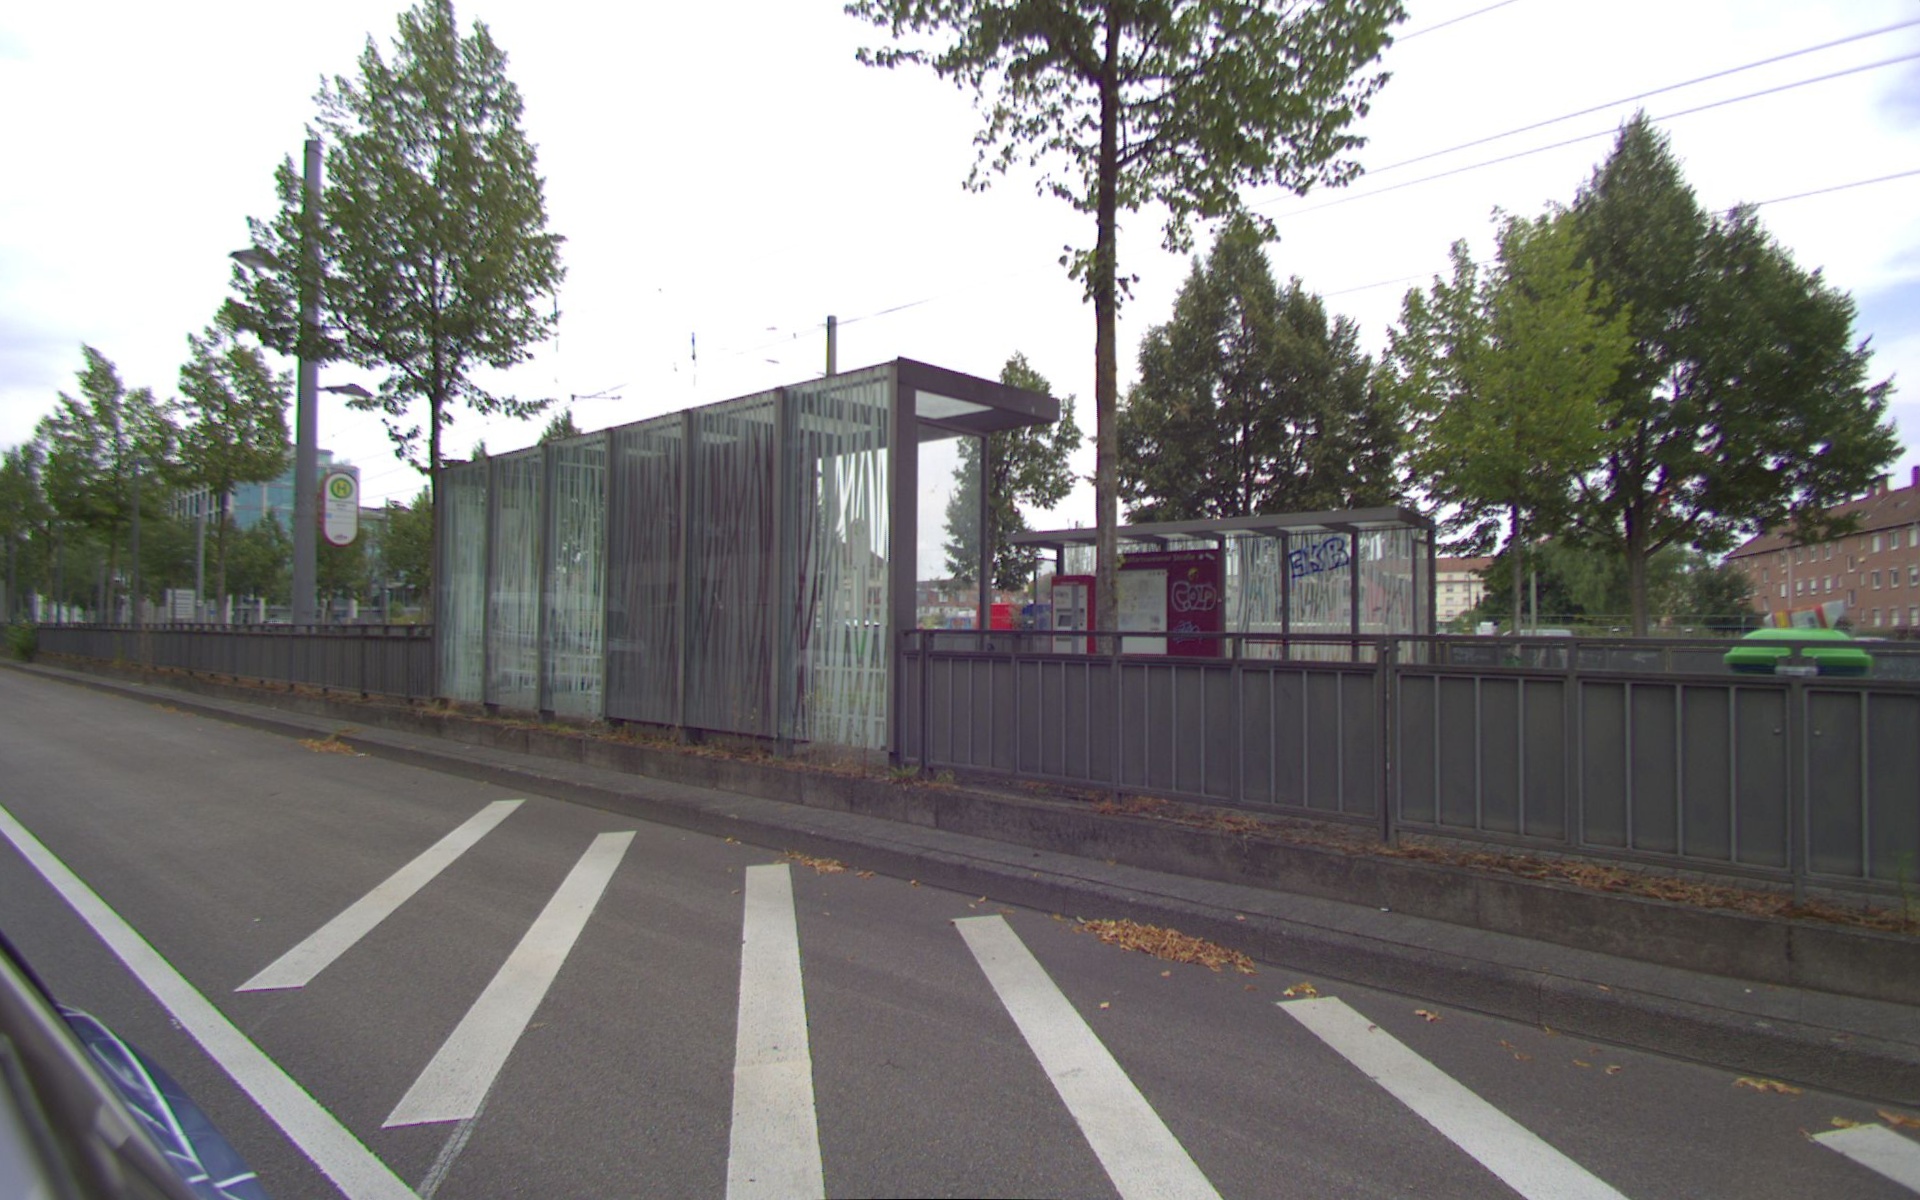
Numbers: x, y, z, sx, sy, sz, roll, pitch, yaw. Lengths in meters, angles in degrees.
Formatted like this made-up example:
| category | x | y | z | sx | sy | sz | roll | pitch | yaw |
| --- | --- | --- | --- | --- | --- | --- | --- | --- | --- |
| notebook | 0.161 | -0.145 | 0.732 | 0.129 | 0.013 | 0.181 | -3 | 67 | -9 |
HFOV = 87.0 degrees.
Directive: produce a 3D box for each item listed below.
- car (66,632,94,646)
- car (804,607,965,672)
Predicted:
| category | x | y | z | sx | sy | sz | roll | pitch | yaw |
| --- | --- | --- | --- | --- | --- | --- | --- | --- | --- |
| car | -108.447 | 4.800 | 124.660 | 4.686 | 1.669 | 1.809 | -2 | -3 | 39 |
| car | -2.139 | 1.073 | 27.826 | 4.384 | 1.630 | 1.972 | -2 | -3 | 42 |
